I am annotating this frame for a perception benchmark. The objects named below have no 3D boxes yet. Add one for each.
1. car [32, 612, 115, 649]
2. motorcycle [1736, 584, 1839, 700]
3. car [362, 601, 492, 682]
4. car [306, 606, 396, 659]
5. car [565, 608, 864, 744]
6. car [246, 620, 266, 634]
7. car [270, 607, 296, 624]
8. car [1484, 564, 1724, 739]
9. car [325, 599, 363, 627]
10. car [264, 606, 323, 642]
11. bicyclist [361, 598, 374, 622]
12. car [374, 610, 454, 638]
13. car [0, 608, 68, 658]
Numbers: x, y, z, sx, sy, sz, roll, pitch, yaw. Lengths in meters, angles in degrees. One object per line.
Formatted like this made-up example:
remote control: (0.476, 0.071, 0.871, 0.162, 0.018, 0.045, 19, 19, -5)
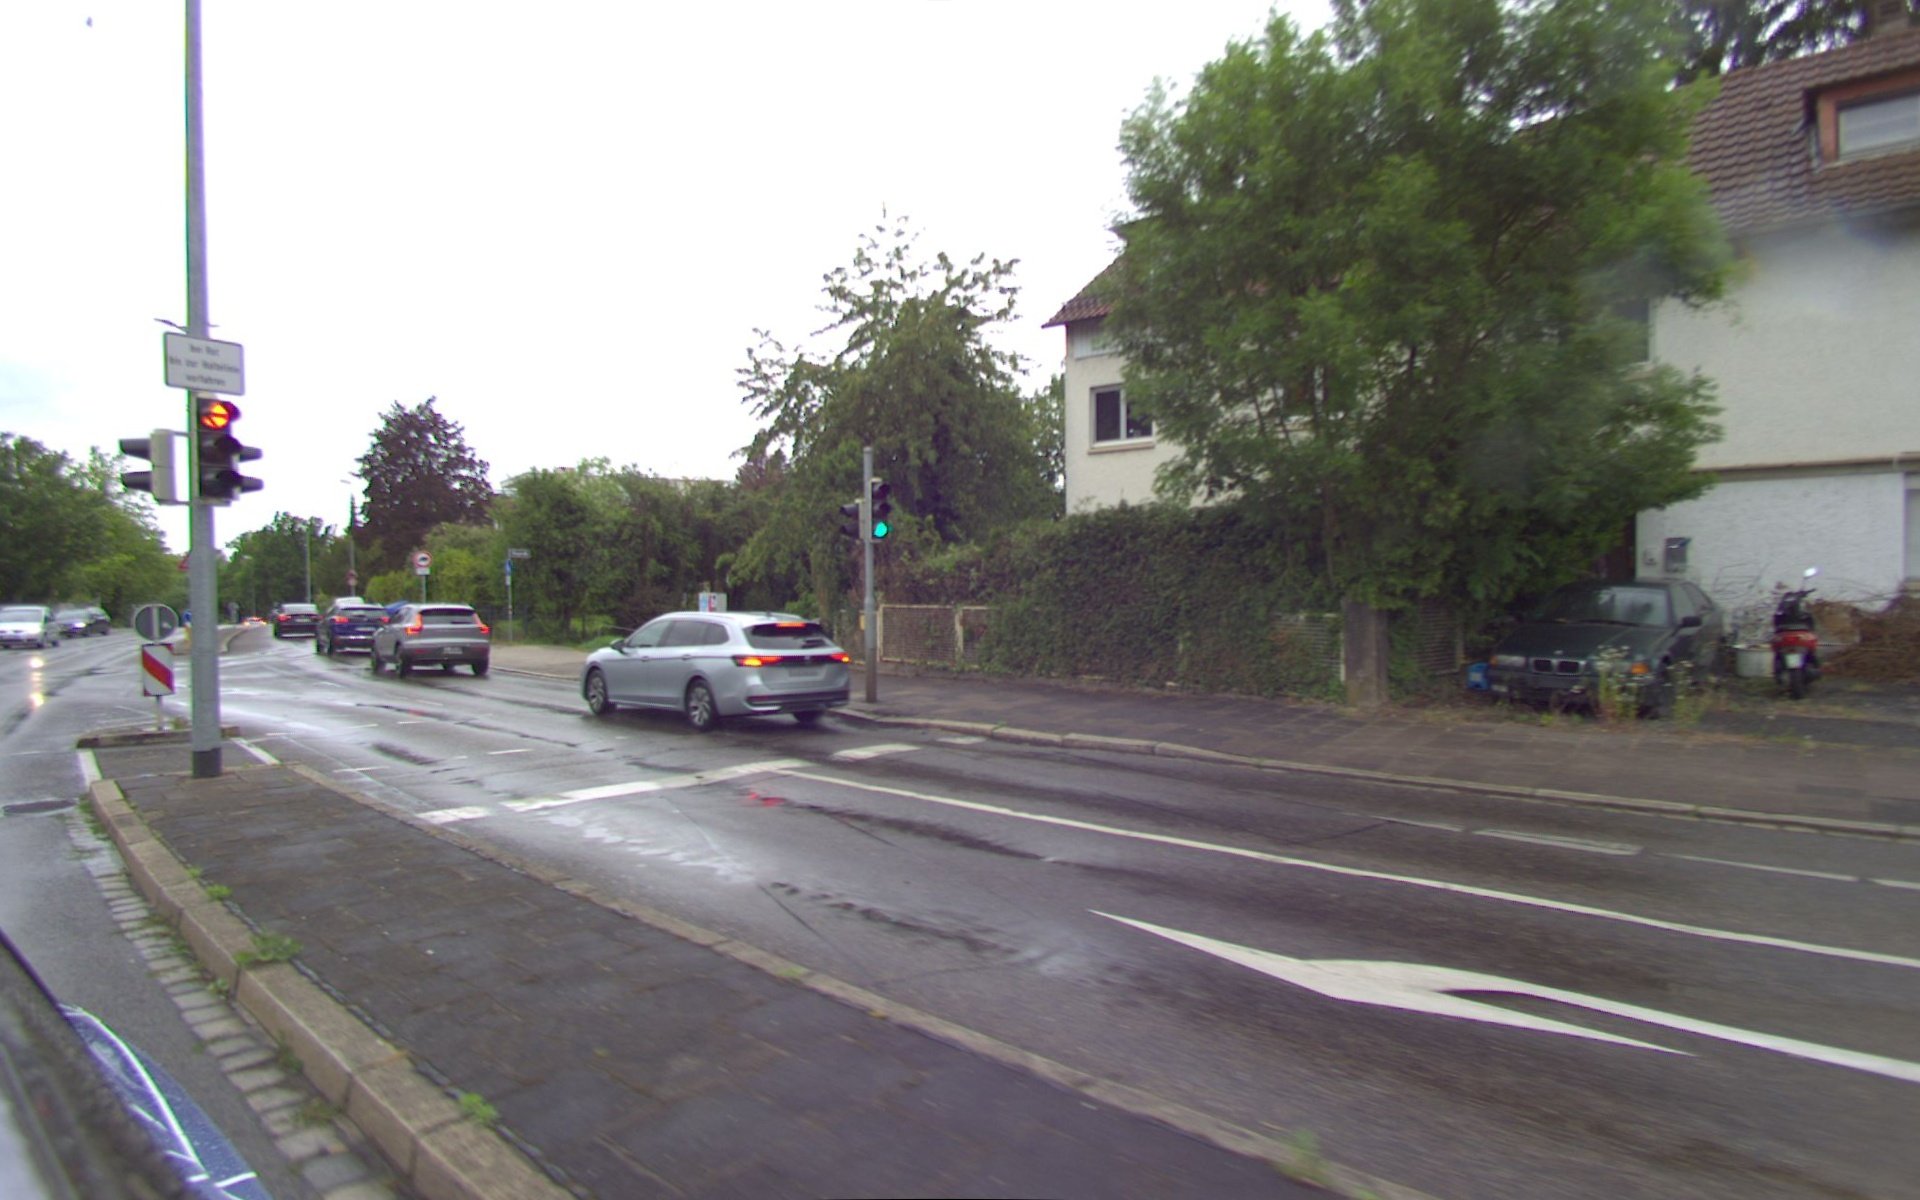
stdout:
car: (-44.661, 1.500, 51.084, 1.965, 1.669, 4.240, 0, 0, -23)
motorcycle: (9.583, 0.432, 11.782, 0.726, 1.098, 2.184, -1, 4, 34)
car: (-12.694, 0.891, 23.971, 1.859, 1.690, 4.238, 0, 1, -40)
car: (-19.602, 0.997, 32.483, 1.841, 1.565, 4.455, 2, -1, -39)
car: (-3.452, 0.870, 13.633, 4.690, 1.461, 1.657, 1, 1, 44)
car: (-79.179, 2.998, 113.859, 1.792, 1.467, 4.010, 0, 1, -35)
car: (-60.829, 1.369, 90.920, 1.792, 1.467, 4.010, 0, 1, -35)
car: (7.315, 0.428, 11.322, 1.930, 1.405, 3.951, -1, 4, 37)
car: (-39.570, 0.819, 64.956, 1.792, 1.730, 4.010, 0, 1, -35)
car: (-29.323, 1.035, 44.473, 1.840, 1.487, 4.456, 2, -1, -37)
bicyclist: (-41.152, 0.717, 70.324, 0.731, 1.659, 0.780, -1, 0, -27)
car: (-31.094, 1.336, 57.678, 3.828, 1.467, 1.772, 0, 1, -37)
car: (-34.321, 1.164, 37.124, 1.967, 1.669, 4.010, 0, 1, -35)
